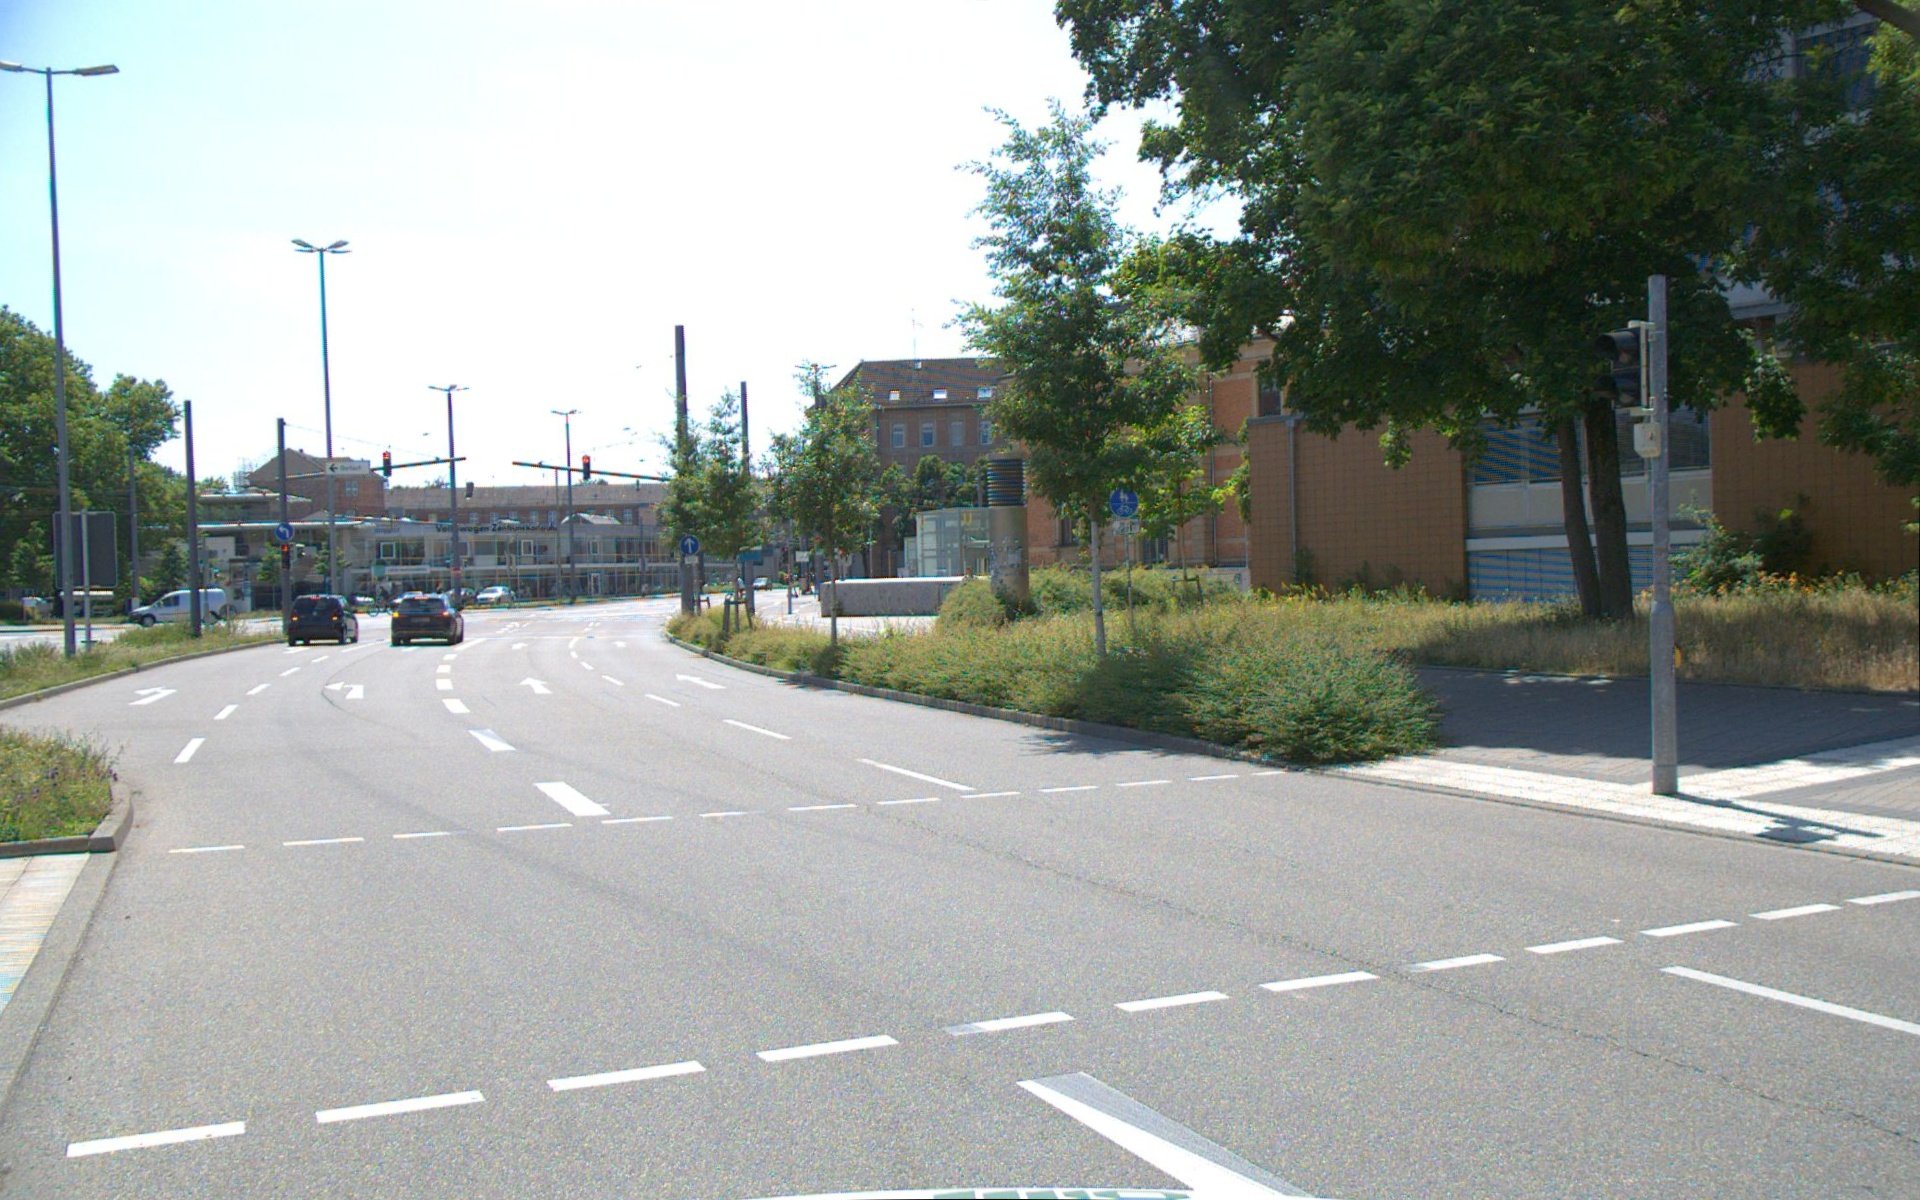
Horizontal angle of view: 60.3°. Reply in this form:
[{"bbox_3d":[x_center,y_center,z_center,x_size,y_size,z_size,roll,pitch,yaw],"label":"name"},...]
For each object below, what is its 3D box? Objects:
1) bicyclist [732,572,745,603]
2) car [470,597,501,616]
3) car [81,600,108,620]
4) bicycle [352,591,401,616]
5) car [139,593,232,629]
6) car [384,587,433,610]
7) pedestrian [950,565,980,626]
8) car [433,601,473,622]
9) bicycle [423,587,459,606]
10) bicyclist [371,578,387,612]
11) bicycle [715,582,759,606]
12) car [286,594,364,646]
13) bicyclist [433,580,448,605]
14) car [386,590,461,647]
[{"bbox_3d":[-14.405,-0.811,107.462,0.750,1.971,0.658,-1,2,-14],"label":"bicyclist"},{"bbox_3d":[-36.203,0.496,126.195,1.402,1.307,3.262,-1,3,0],"label":"car"},{"bbox_3d":[-73.290,0.837,140.077,1.486,1.443,3.404,-1,3,-18],"label":"car"},{"bbox_3d":[-35.149,0.196,99.648,2.734,1.409,0.667,-1,2,-20],"label":"bicycle"},{"bbox_3d":[-40.845,0.547,87.273,4.266,1.655,1.795,-2,3,-33],"label":"car"},{"bbox_3d":[-36.924,-0.123,110.901,1.585,1.414,4.127,-2,1,4],"label":"car"},{"bbox_3d":[0.145,-0.127,47.756,0.719,1.735,0.808,-1,1,-11],"label":"pedestrian"},{"bbox_3d":[-36.346,0.846,118.589,1.506,1.300,3.542,0,3,5],"label":"car"},{"bbox_3d":[-32.769,-0.222,104.422,2.138,1.126,0.452,-2,3,-31],"label":"bicycle"},{"bbox_3d":[-35.010,-0.306,99.692,0.833,1.999,0.623,-1,2,-20],"label":"bicyclist"},{"bbox_3d":[-14.468,-0.409,107.434,2.778,1.488,0.631,-1,2,-15],"label":"bicycle"},{"bbox_3d":[-19.310,0.573,50.460,1.593,1.489,3.988,-2,1,-12],"label":"car"},{"bbox_3d":[-32.762,-0.489,104.329,0.724,1.505,0.649,-2,3,-31],"label":"bicyclist"},{"bbox_3d":[-16.175,0.527,50.039,1.687,1.584,4.572,-2,1,-13],"label":"car"}]
